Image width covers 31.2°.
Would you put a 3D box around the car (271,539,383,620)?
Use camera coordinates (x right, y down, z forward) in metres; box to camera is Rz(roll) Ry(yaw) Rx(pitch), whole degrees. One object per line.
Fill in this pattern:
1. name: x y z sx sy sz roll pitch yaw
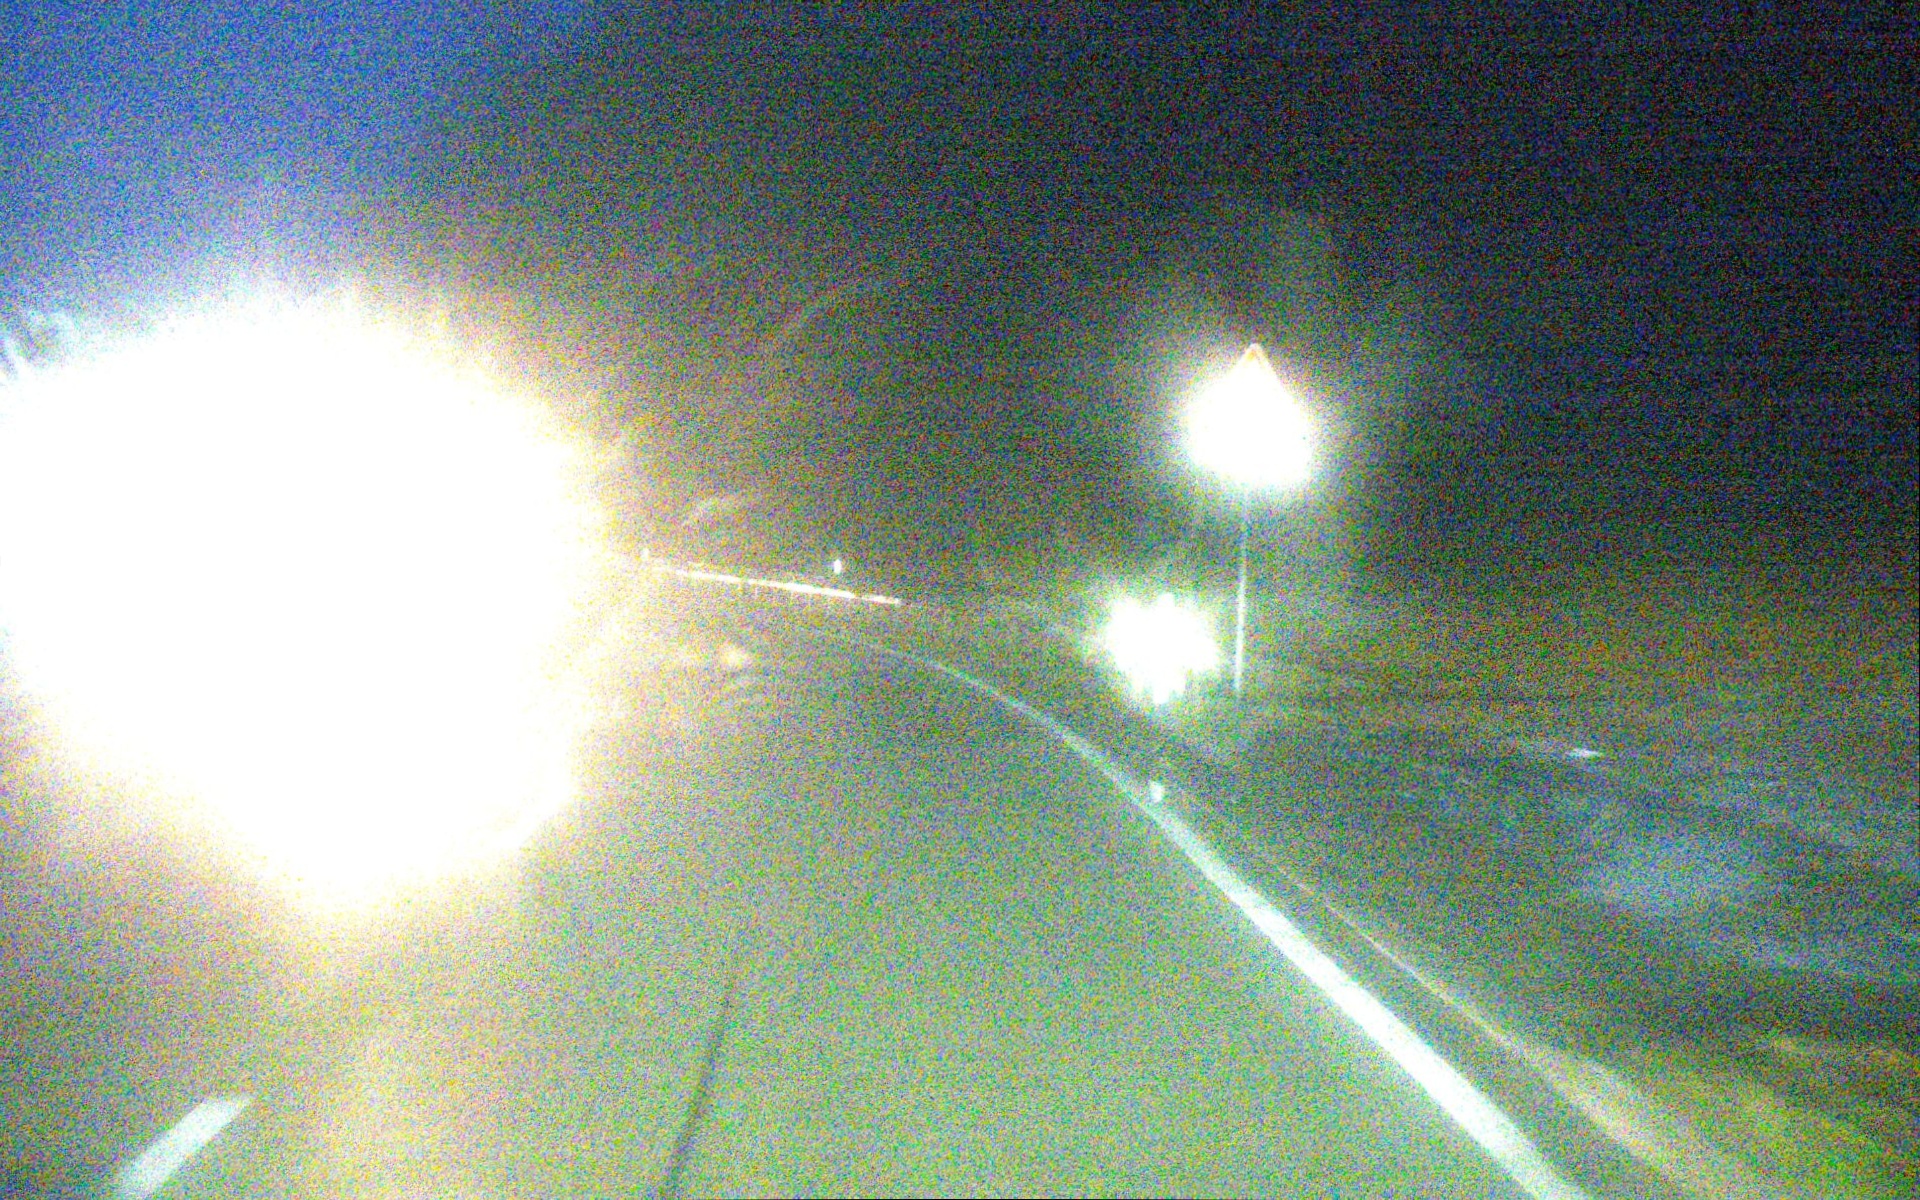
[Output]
1. car: -15.738 -0.525 85.355 1.993 1.919 4.001 1 1 -21

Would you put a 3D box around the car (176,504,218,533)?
1. car: -39.749 -4.245 178.958 1.993 1.467 3.838 1 1 -14
